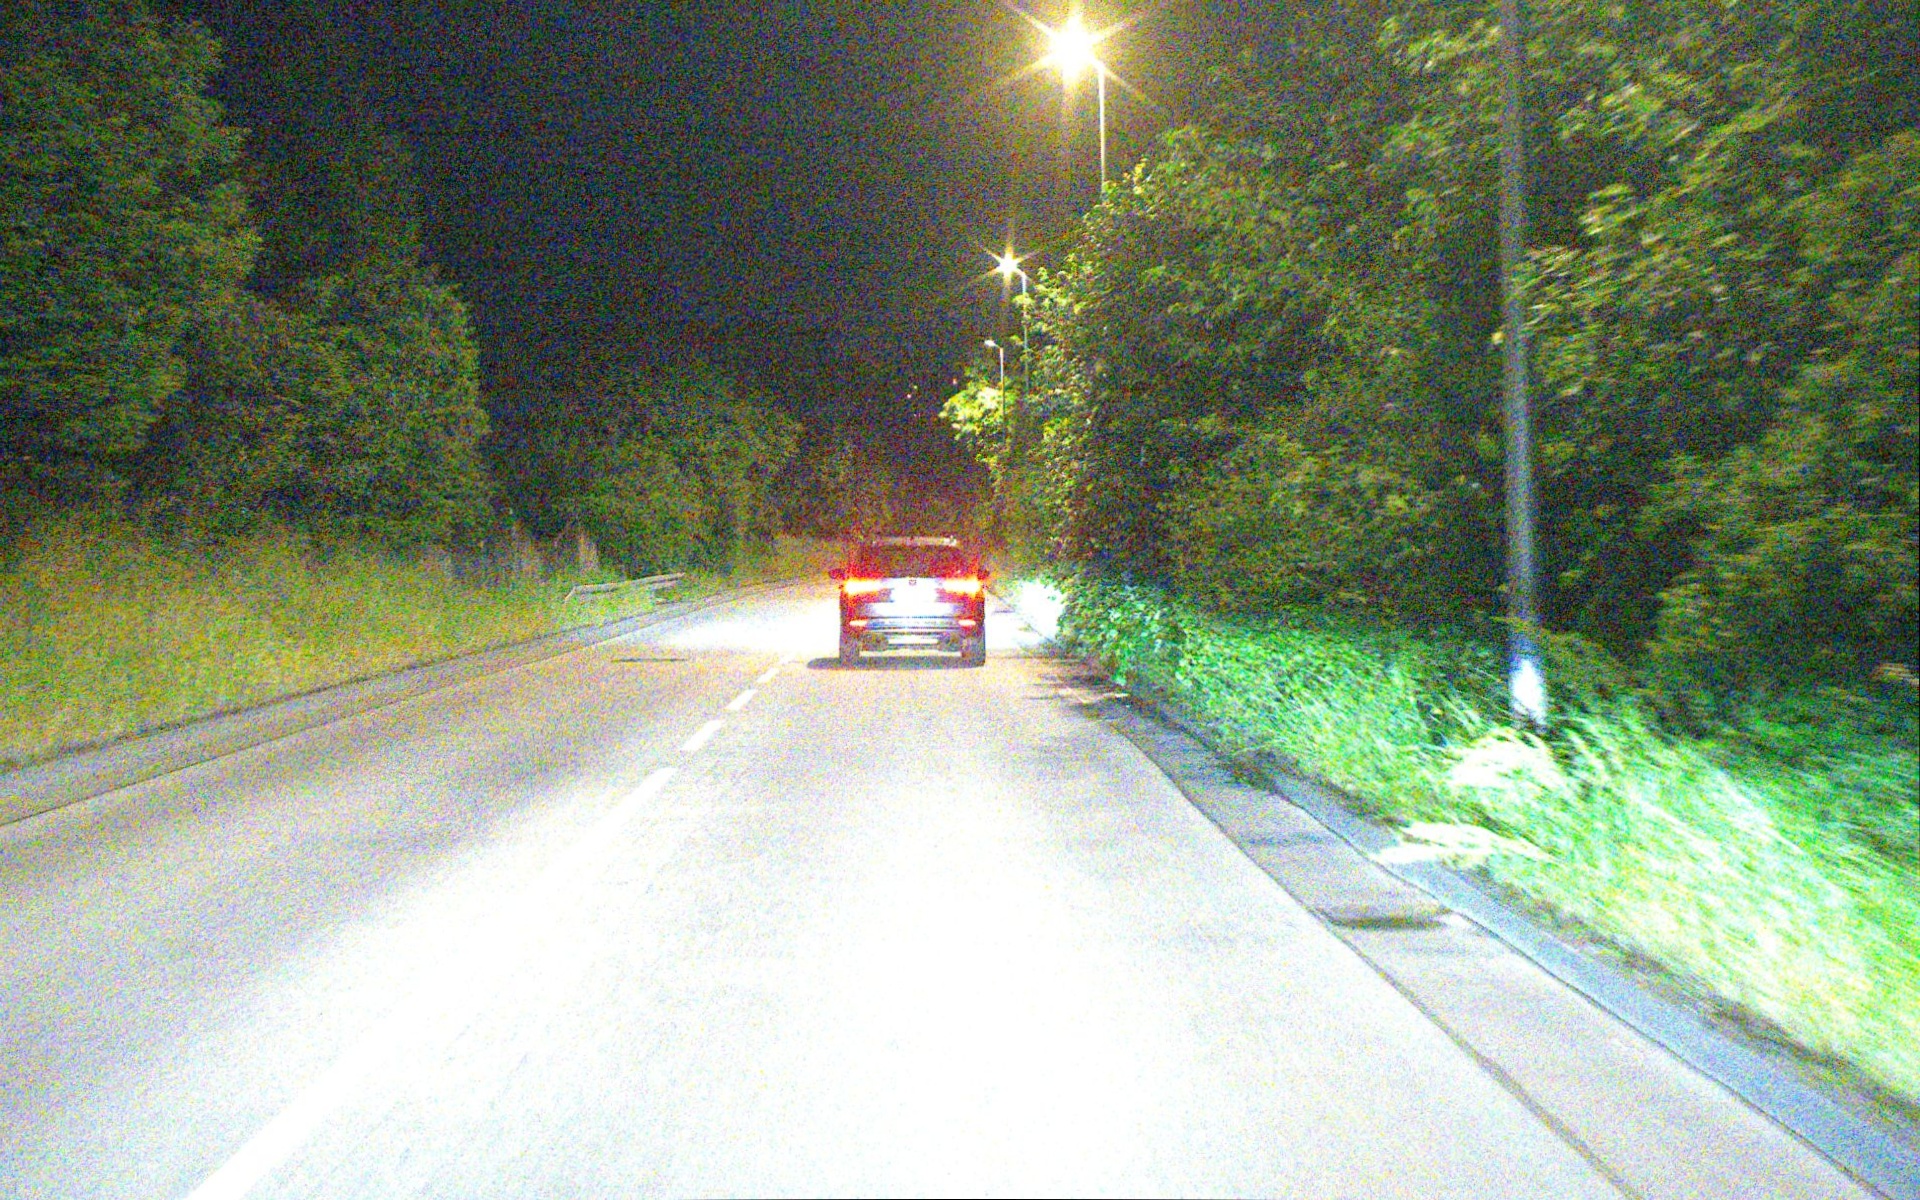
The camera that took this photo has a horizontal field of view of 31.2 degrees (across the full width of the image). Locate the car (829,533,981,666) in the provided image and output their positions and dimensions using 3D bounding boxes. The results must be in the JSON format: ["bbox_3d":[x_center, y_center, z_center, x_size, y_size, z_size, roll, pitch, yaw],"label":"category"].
[{"bbox_3d":[-0.682,-0.041,43.293,1.815,1.568,3.944,-1,1,-1],"label":"car"}]
